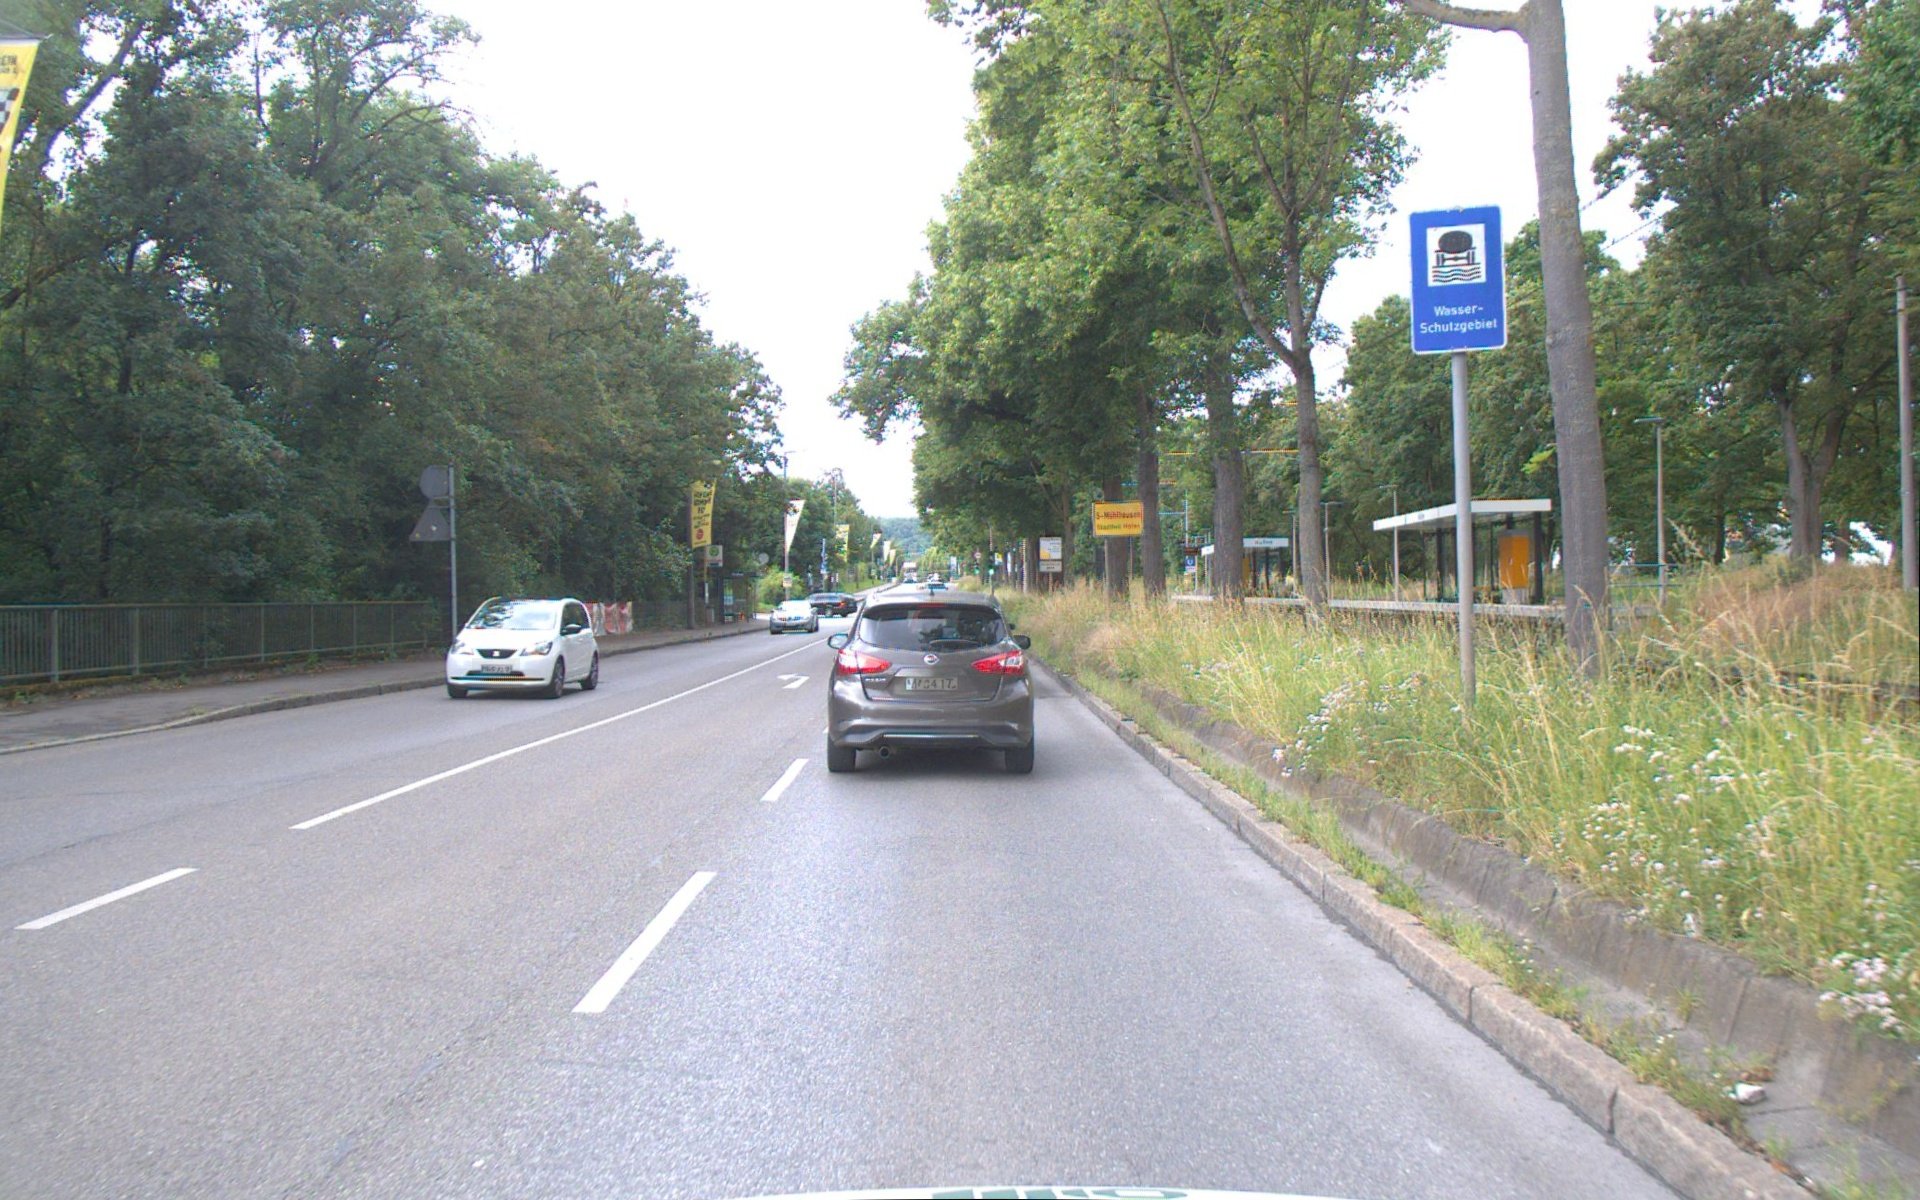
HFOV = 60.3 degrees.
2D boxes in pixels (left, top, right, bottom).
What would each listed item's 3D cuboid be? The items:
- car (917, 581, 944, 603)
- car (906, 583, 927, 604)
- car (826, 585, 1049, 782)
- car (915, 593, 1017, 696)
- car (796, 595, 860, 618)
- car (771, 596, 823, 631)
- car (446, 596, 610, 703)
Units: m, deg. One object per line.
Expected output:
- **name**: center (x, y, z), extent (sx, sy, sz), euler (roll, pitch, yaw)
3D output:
- **car**: center (-2.179, -0.588, 123.880), extent (1.953, 1.601, 3.999), euler (1, 0, -1)
- **car**: center (-4.315, -0.629, 164.616), extent (1.954, 2.049, 3.997), euler (1, 0, -3)
- **car**: center (-0.183, 0.656, 14.893), extent (1.747, 1.533, 3.696), euler (-1, 0, 0)
- **car**: center (0.070, 0.633, 25.731), extent (1.471, 1.466, 3.541), euler (0, 0, -1)
- **car**: center (-8.124, 0.412, 101.715), extent (3.615, 1.360, 1.761), euler (1, 1, 30)
- **car**: center (-6.587, 0.534, 67.026), extent (1.722, 1.360, 3.696), euler (-1, 0, 0)
- **car**: center (-6.528, 0.701, 25.334), extent (1.548, 1.491, 3.696), euler (-1, 0, 0)
